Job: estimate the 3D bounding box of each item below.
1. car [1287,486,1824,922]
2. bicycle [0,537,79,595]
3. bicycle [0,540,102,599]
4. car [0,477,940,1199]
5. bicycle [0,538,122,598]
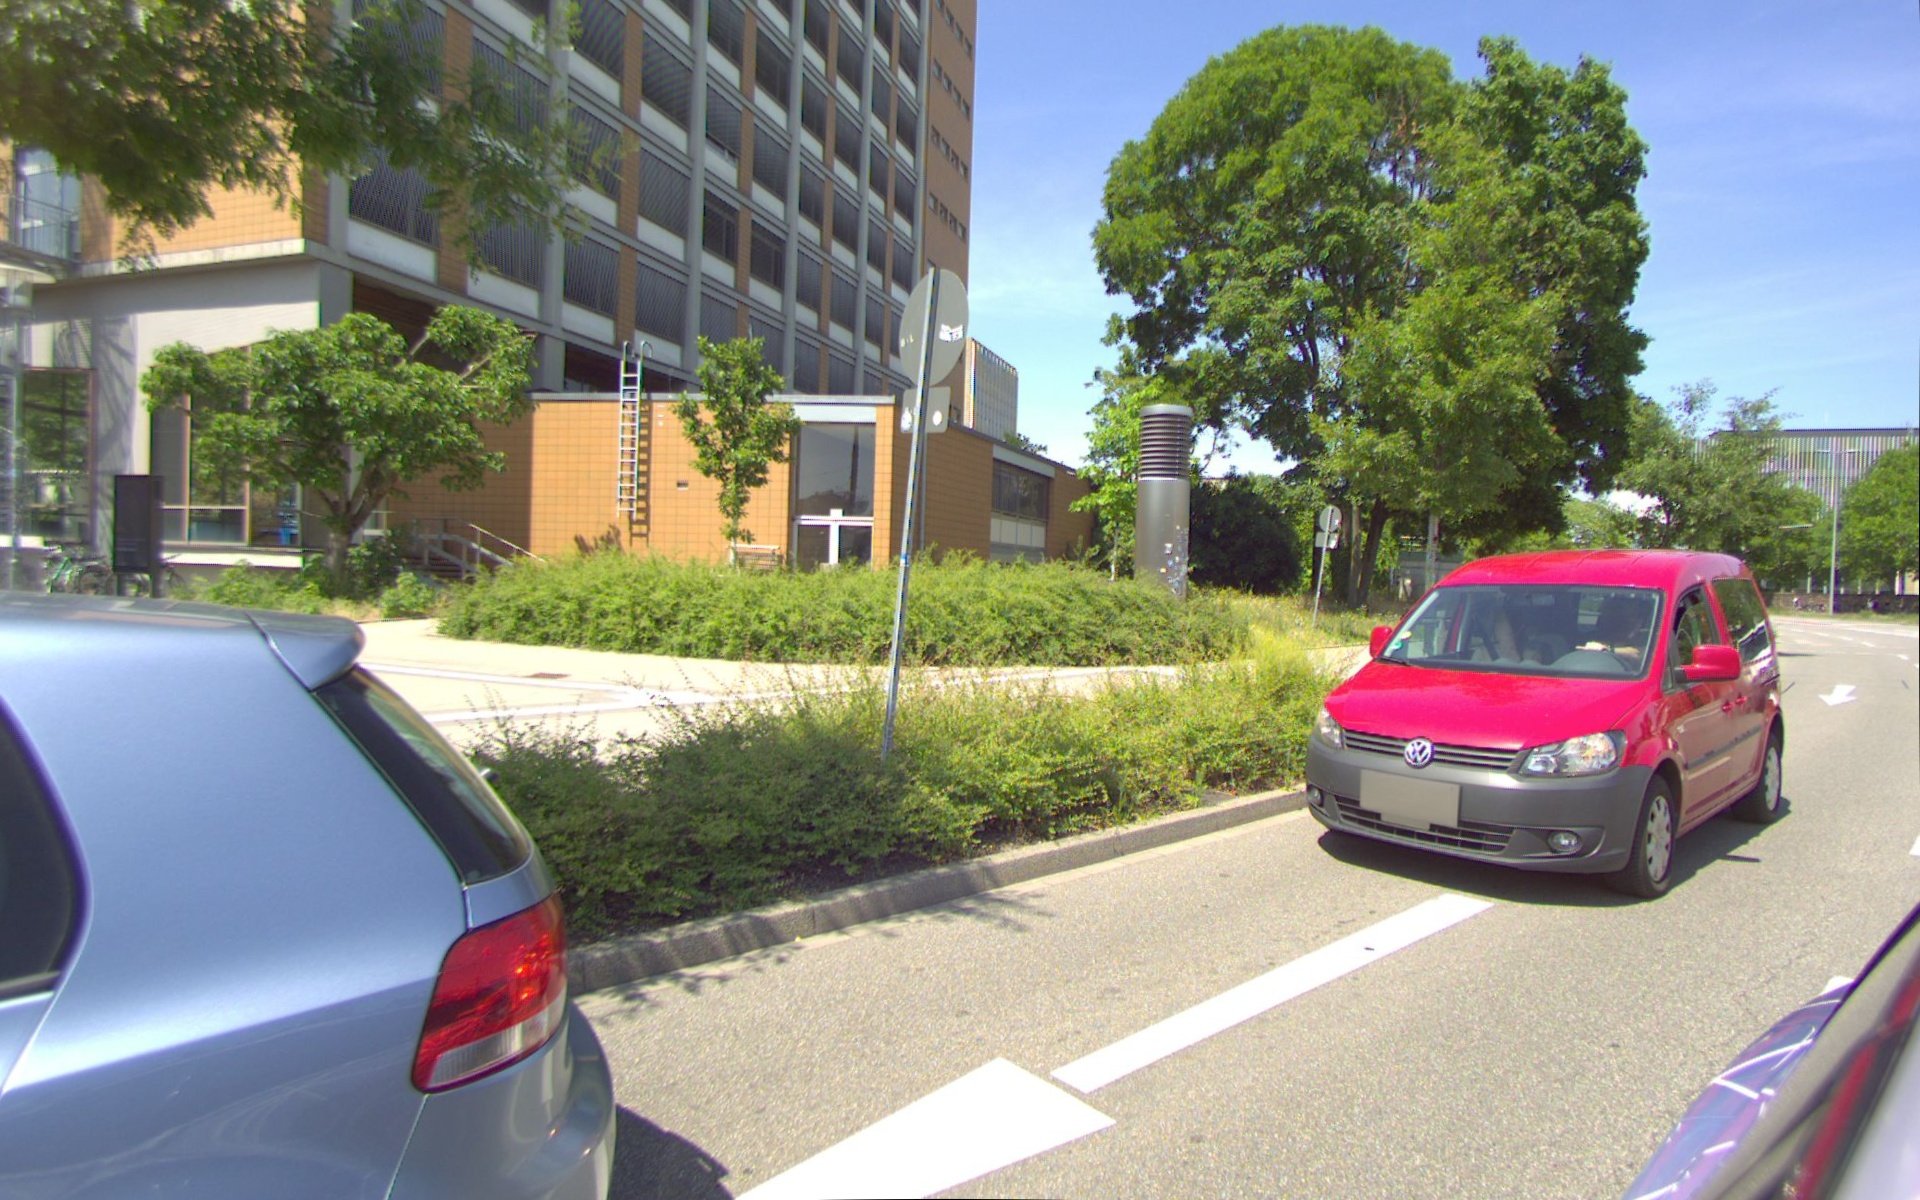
[{"bbox_3d":[4.043,0.437,6.482,4.467,1.882,1.654,0,1,-41],"label":"car"},{"bbox_3d":[-20.782,-0.736,22.164,0.630,1.233,2.201,0,0,22],"label":"bicycle"},{"bbox_3d":[-20.071,-0.640,21.947,0.630,1.233,2.201,0,0,22],"label":"bicycle"},{"bbox_3d":[-2.061,0.606,1.146,3.933,1.477,1.654,0,0,-41],"label":"car"},{"bbox_3d":[-19.395,-0.660,21.675,0.630,1.233,2.201,0,0,22],"label":"bicycle"}]
